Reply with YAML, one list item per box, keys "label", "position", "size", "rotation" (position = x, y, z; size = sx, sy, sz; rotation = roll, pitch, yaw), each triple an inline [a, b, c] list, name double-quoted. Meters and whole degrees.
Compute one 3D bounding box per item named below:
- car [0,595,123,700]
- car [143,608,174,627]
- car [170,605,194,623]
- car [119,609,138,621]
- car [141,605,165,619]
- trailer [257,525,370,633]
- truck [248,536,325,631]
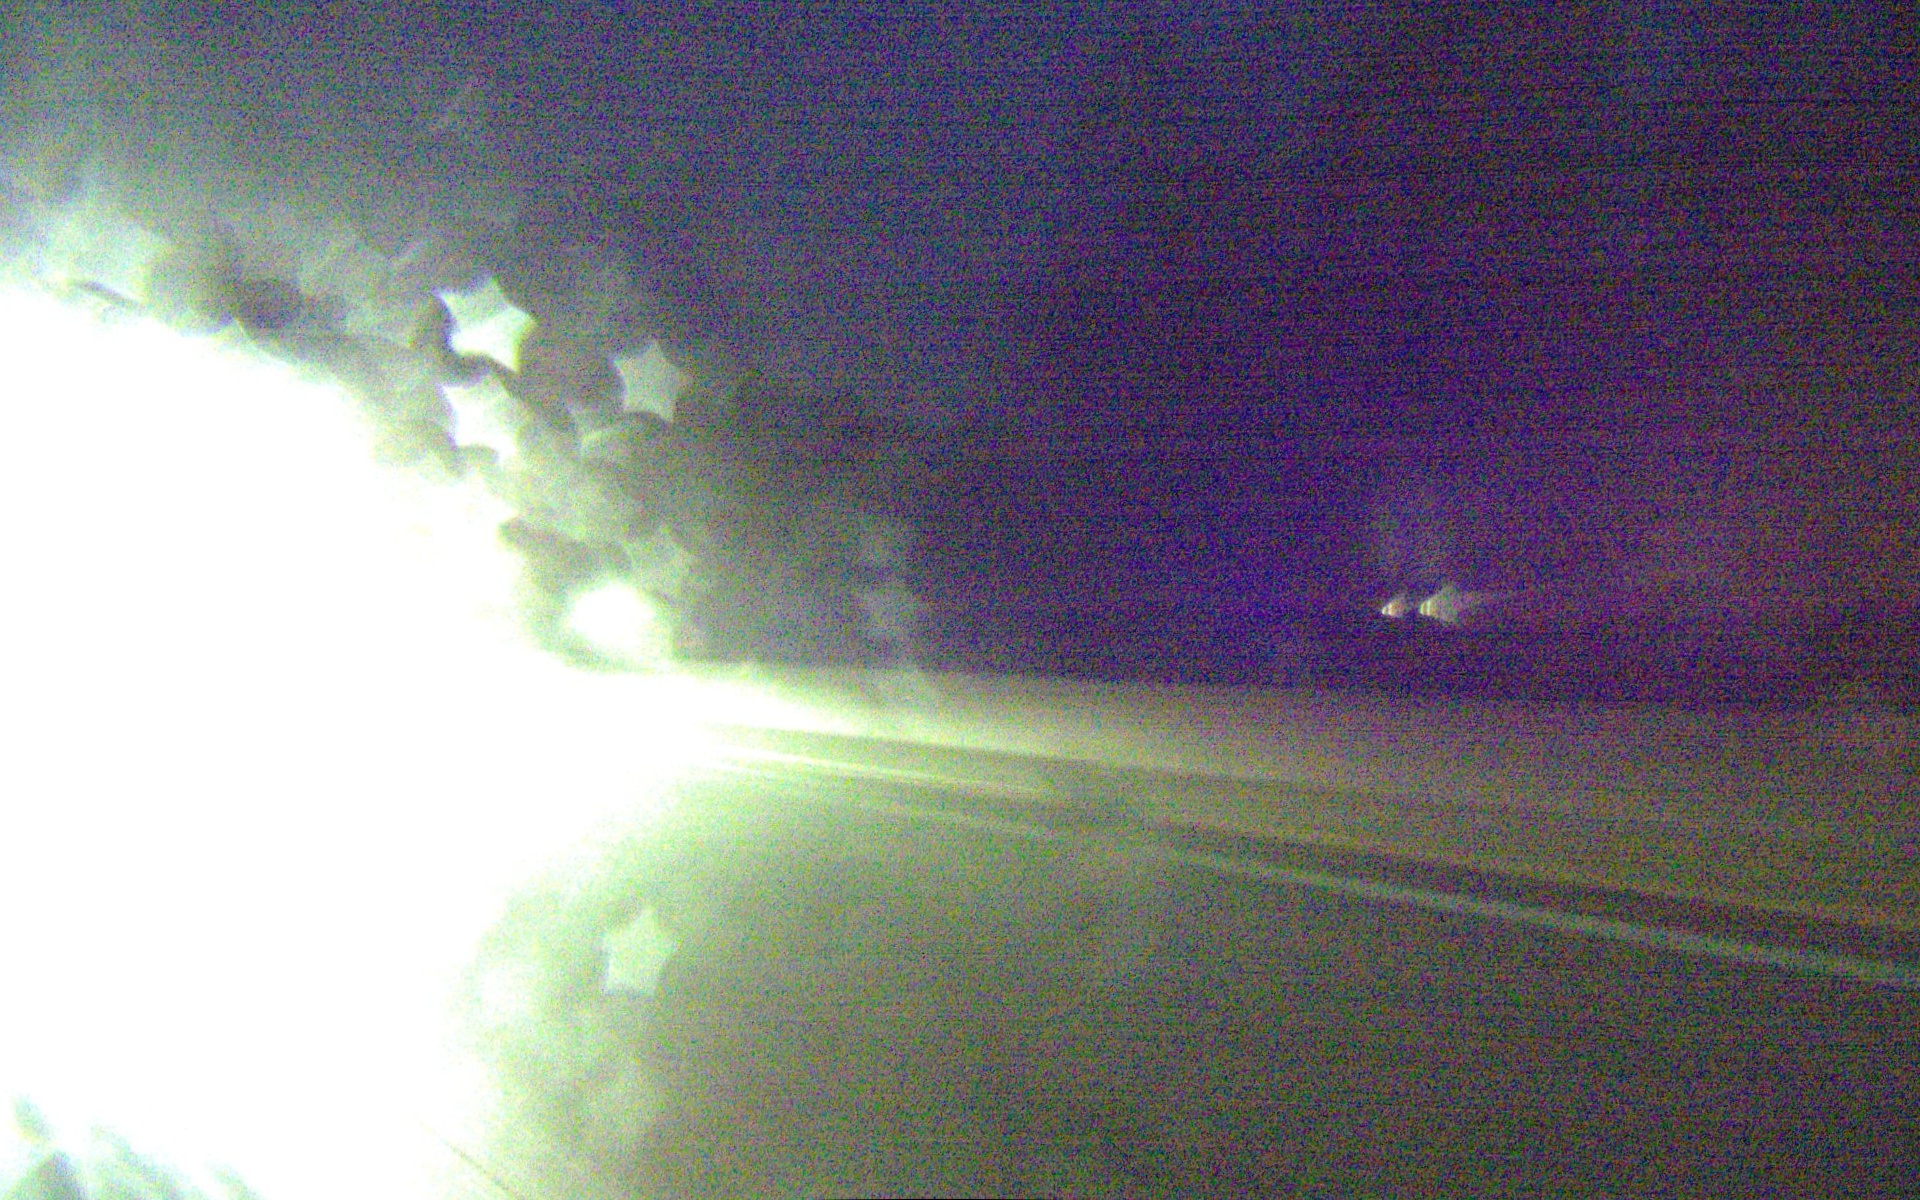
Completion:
- label: "car"
  position: [-19.176, 0.898, 21.048]
  size: [5.557, 1.898, 2.113]
  rotation: [-1, 0, 44]
- label: "car"
  position: [-73.659, 1.630, 93.018]
  size: [3.866, 1.660, 1.760]
  rotation: [-1, 0, 45]
- label: "car"
  position: [-106.185, 1.905, 138.149]
  size: [2.148, 2.459, 4.942]
  rotation: [-1, 0, -43]
- label: "car"
  position: [-118.916, 2.174, 144.731]
  size: [1.853, 1.639, 4.005]
  rotation: [0, 0, -42]
- label: "car"
  position: [-106.943, 1.600, 134.127]
  size: [4.002, 1.772, 1.971]
  rotation: [-1, 0, 45]
- label: "trailer"
  position: [-39.667, -1.088, 61.713]
  size: [2.875, 5.939, 14.181]
  rotation: [-1, 0, -44]
- label: "truck"
  position: [-44.255, -1.032, 66.423]
  size: [2.870, 5.939, 6.883]
  rotation: [-1, 0, -45]
